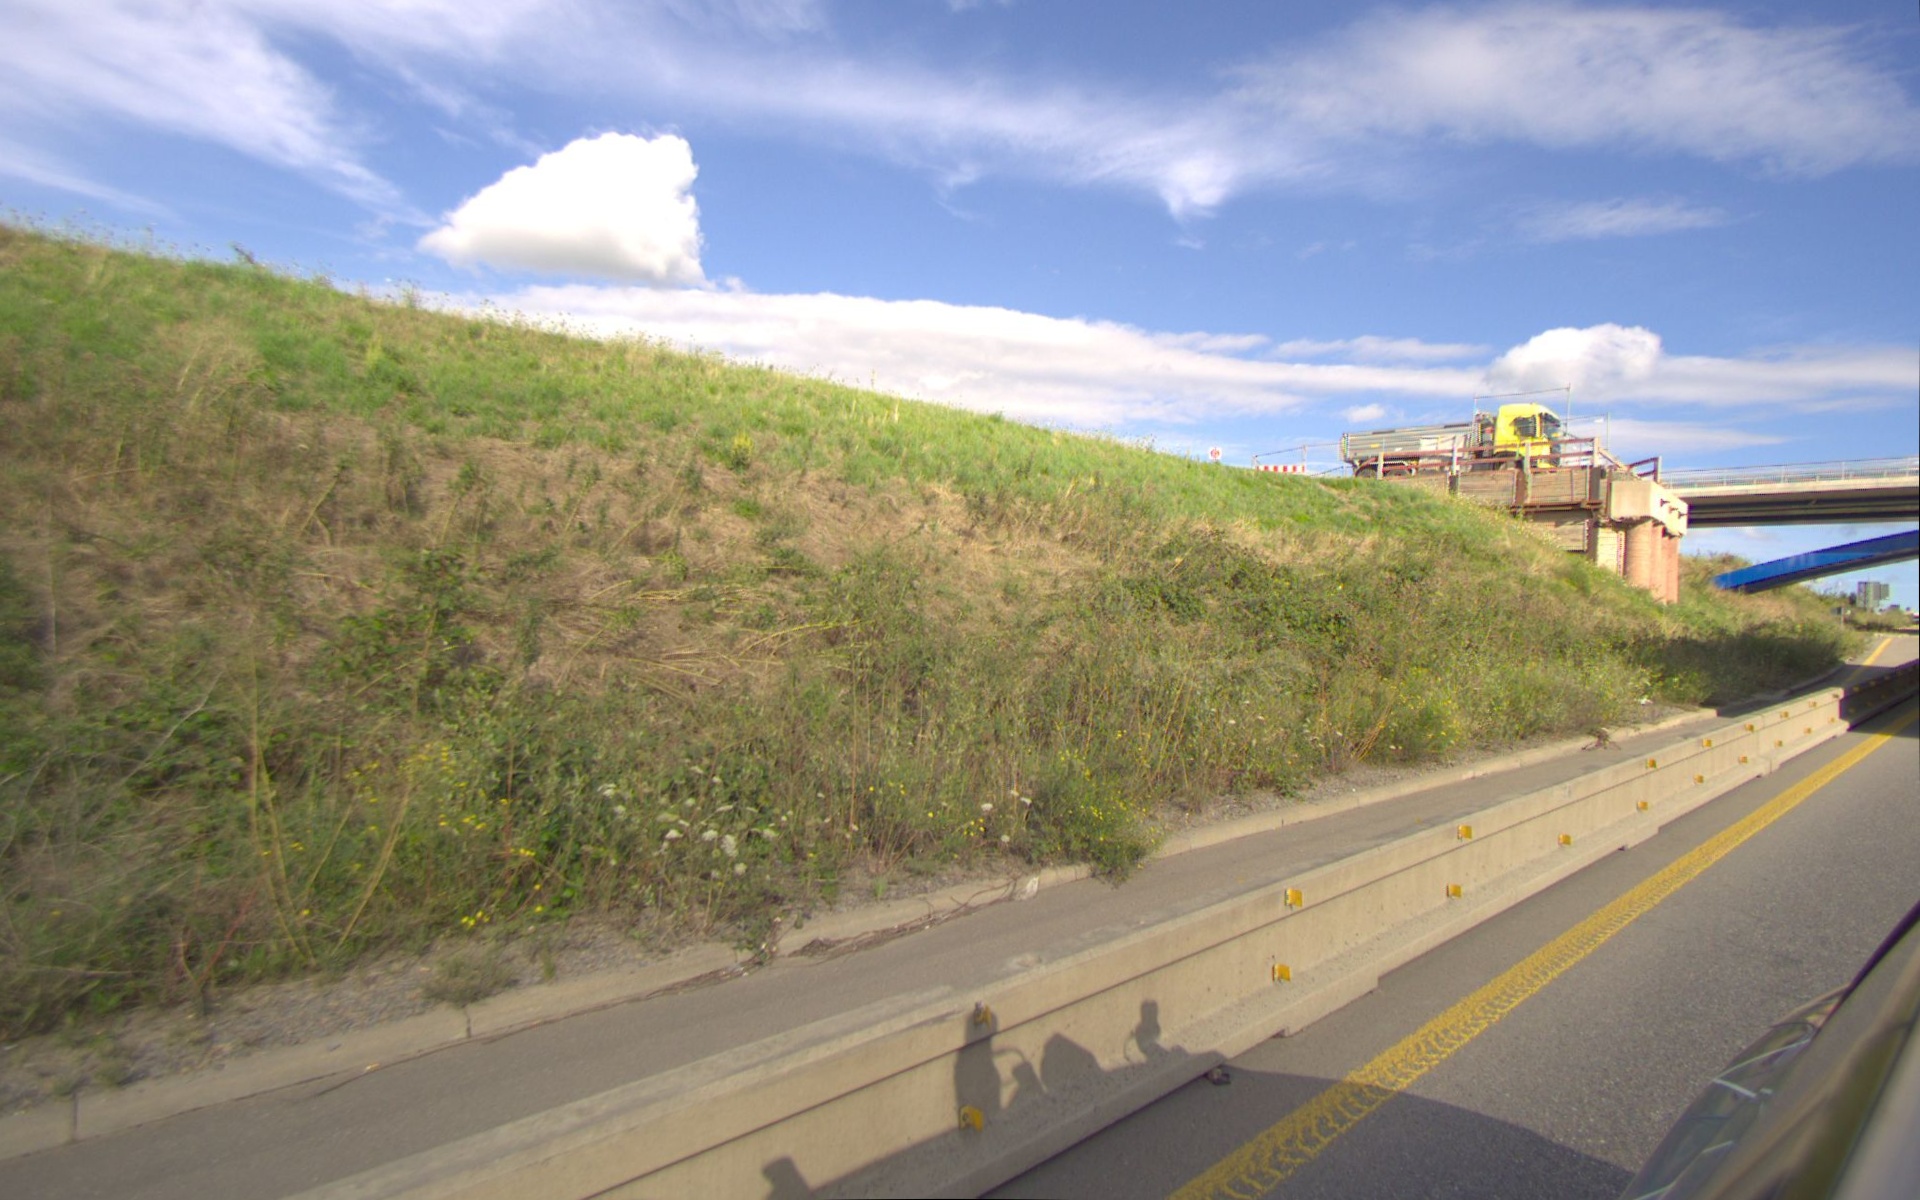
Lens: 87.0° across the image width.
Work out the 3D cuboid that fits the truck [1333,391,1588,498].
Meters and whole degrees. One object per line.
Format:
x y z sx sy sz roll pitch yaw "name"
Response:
20.887 -6.354 42.830 2.911 3.268 9.271 1 0 -44 "truck"
